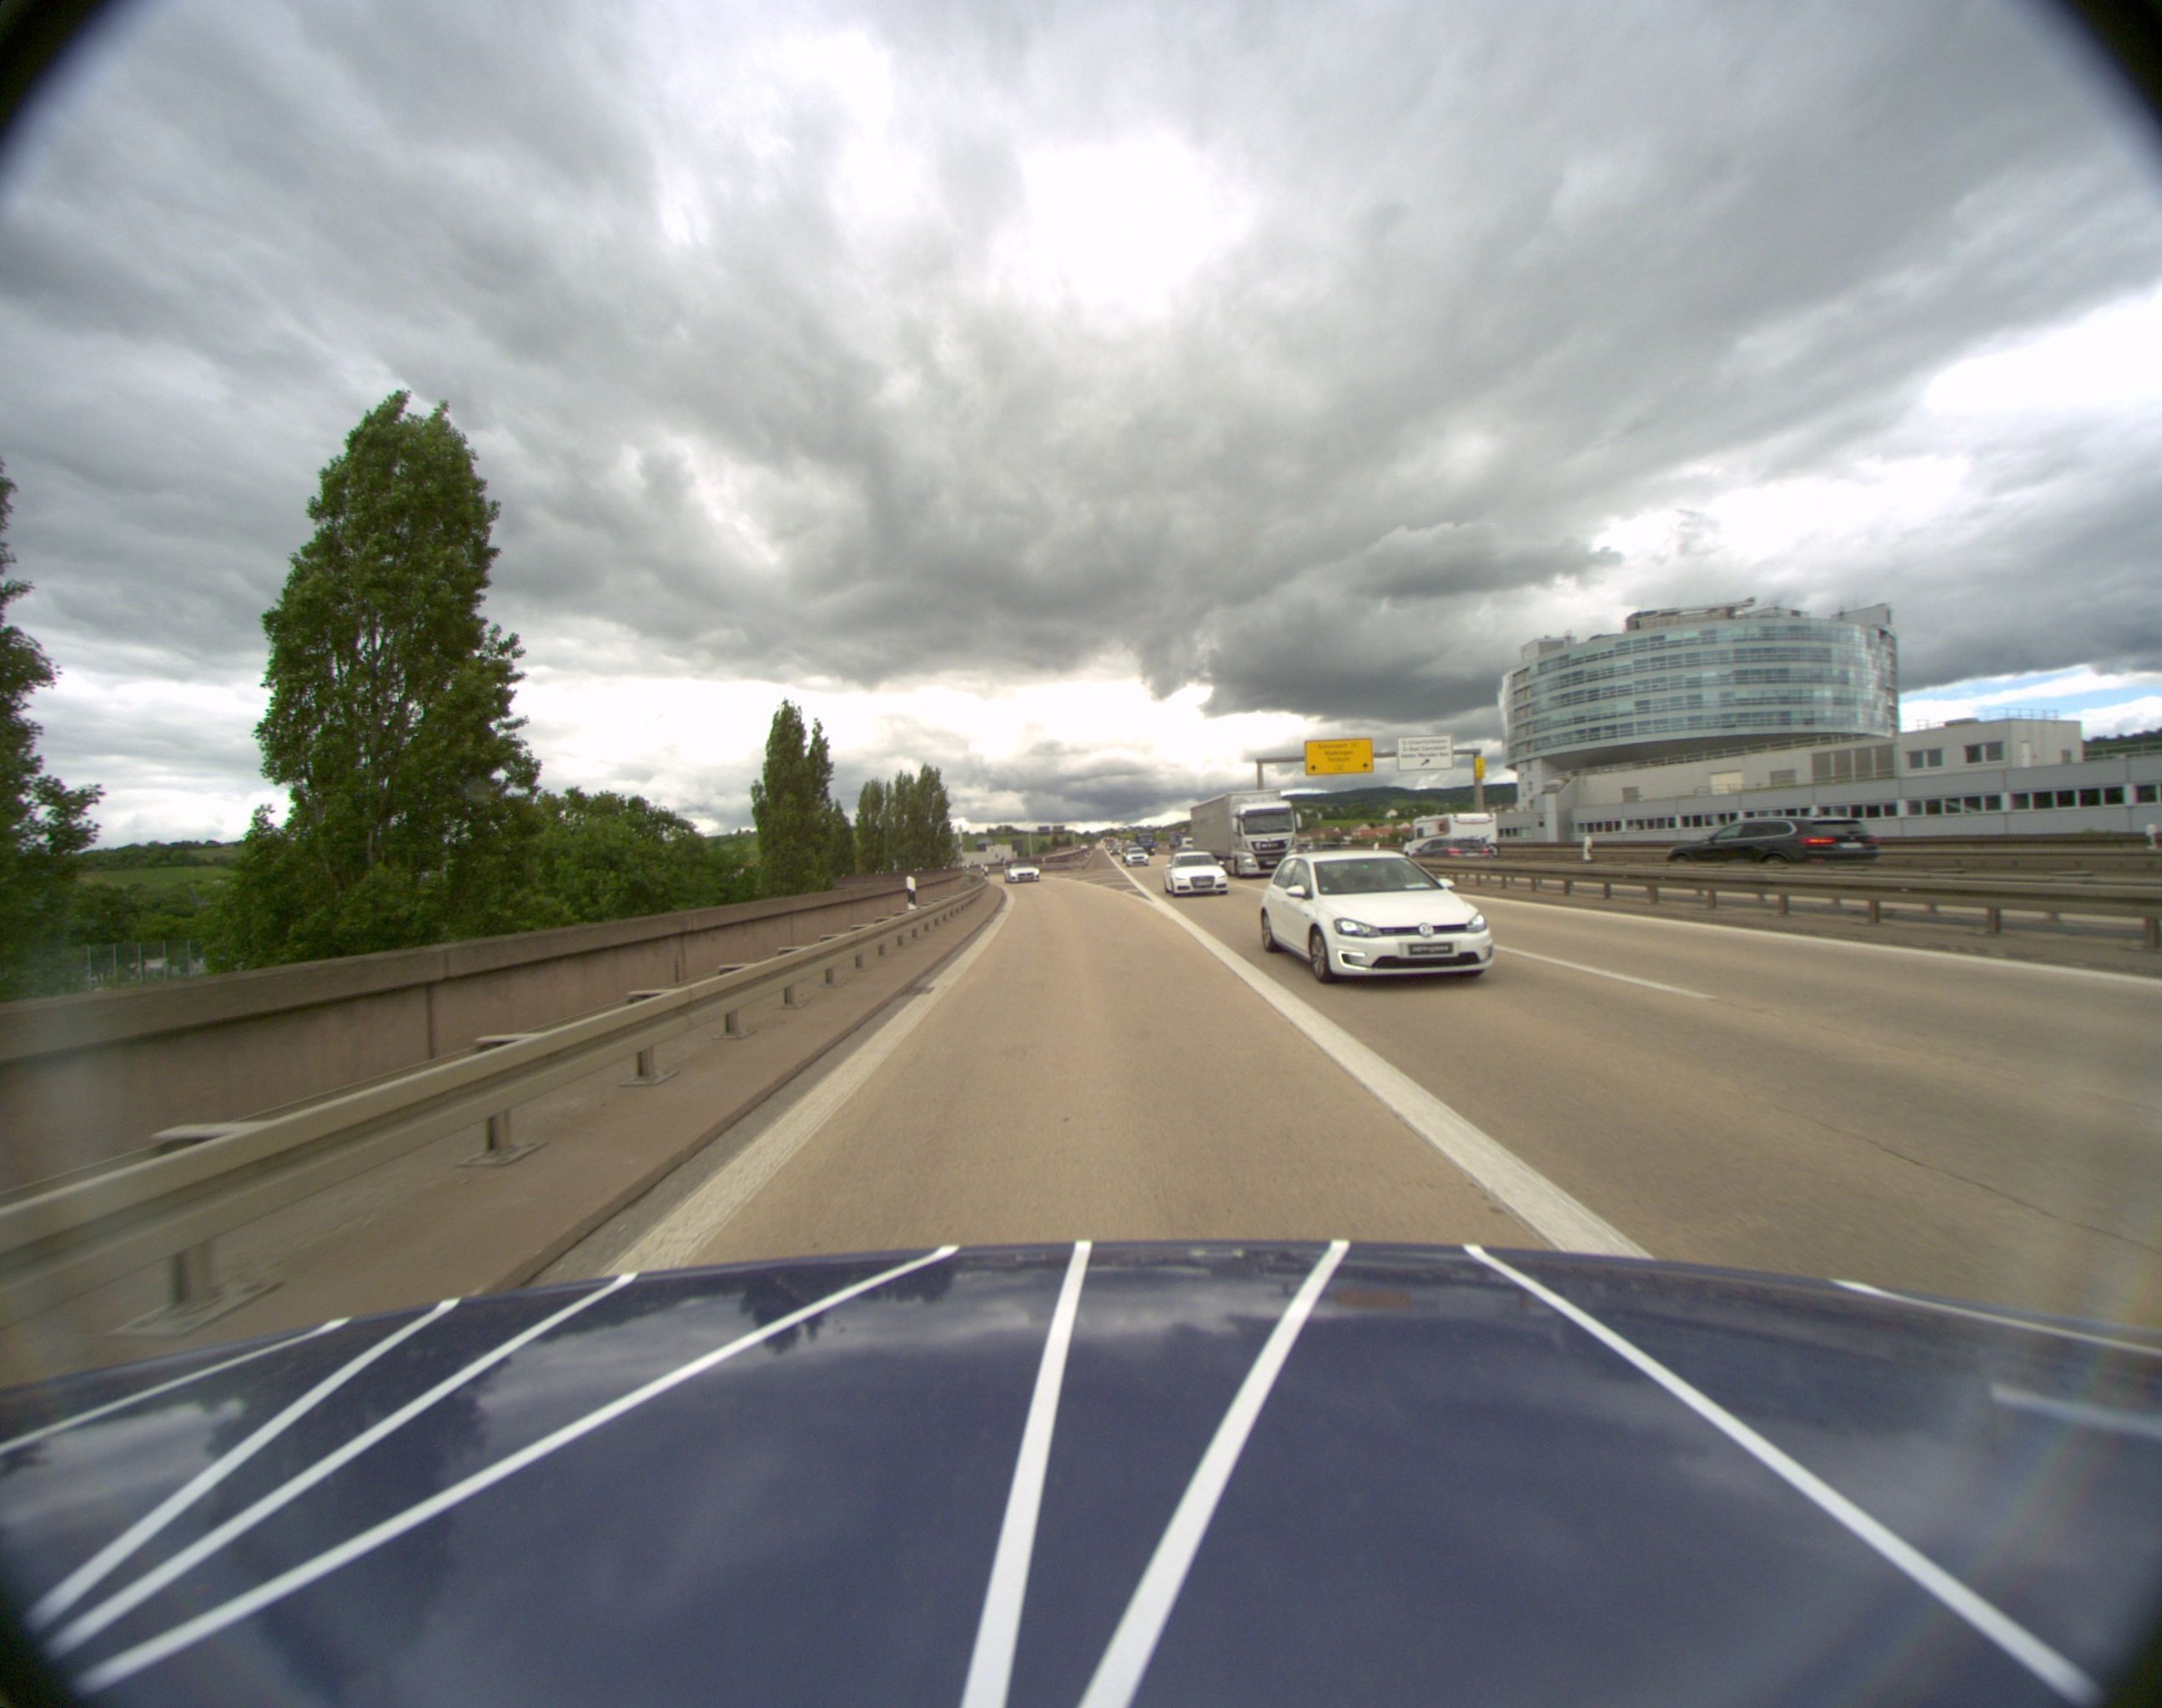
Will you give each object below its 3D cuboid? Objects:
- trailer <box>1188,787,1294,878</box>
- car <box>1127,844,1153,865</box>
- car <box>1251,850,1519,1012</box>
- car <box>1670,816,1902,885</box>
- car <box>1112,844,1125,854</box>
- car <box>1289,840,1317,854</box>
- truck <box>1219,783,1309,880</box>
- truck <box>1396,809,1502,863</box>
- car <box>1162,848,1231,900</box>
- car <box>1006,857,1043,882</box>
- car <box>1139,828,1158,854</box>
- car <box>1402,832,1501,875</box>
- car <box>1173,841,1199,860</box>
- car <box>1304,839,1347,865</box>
[{"bbox_3d":[8.372,-1.114,42.092,2.863,3.988,13.971,-4,1,1],"label":"trailer"},{"bbox_3d":[5.236,0.010,67.994,1.998,1.672,4.000,-4,0,0],"label":"car"},{"bbox_3d":[3.417,0.745,9.424,1.713,1.488,4.000,-3,0,1],"label":"car"},{"bbox_3d":[18.701,-0.084,20.535,1.998,1.626,4.631,-1,0,1],"label":"car"},{"bbox_3d":[6.788,-0.829,137.433,1.997,1.672,4.002,-4,0,7],"label":"car"},{"bbox_3d":[20.978,-0.640,71.990,1.646,1.228,4.282,-1,0,3],"label":"car"},{"bbox_3d":[8.276,-1.009,34.949,2.863,3.988,4.791,-4,1,1],"label":"truck"},{"bbox_3d":[19.636,-0.886,41.045,2.496,2.611,7.350,-1,0,3],"label":"truck"},{"bbox_3d":[3.853,0.613,25.840,1.787,1.509,4.000,-4,0,2],"label":"car"},{"bbox_3d":[-3.711,0.958,48.934,1.864,1.337,4.820,-5,1,-9],"label":"car"},{"bbox_3d":[10.185,-1.998,115.167,2.363,3.639,4.799,-5,0,2],"label":"car"},{"bbox_3d":[15.152,-0.024,31.394,1.998,1.626,4.454,-1,0,2],"label":"car"},{"bbox_3d":[9.184,-0.302,66.569,1.787,1.509,4.000,-5,0,2],"label":"car"},{"bbox_3d":[15.779,-0.121,49.164,1.649,1.576,3.719,-1,0,2],"label":"car"}]
